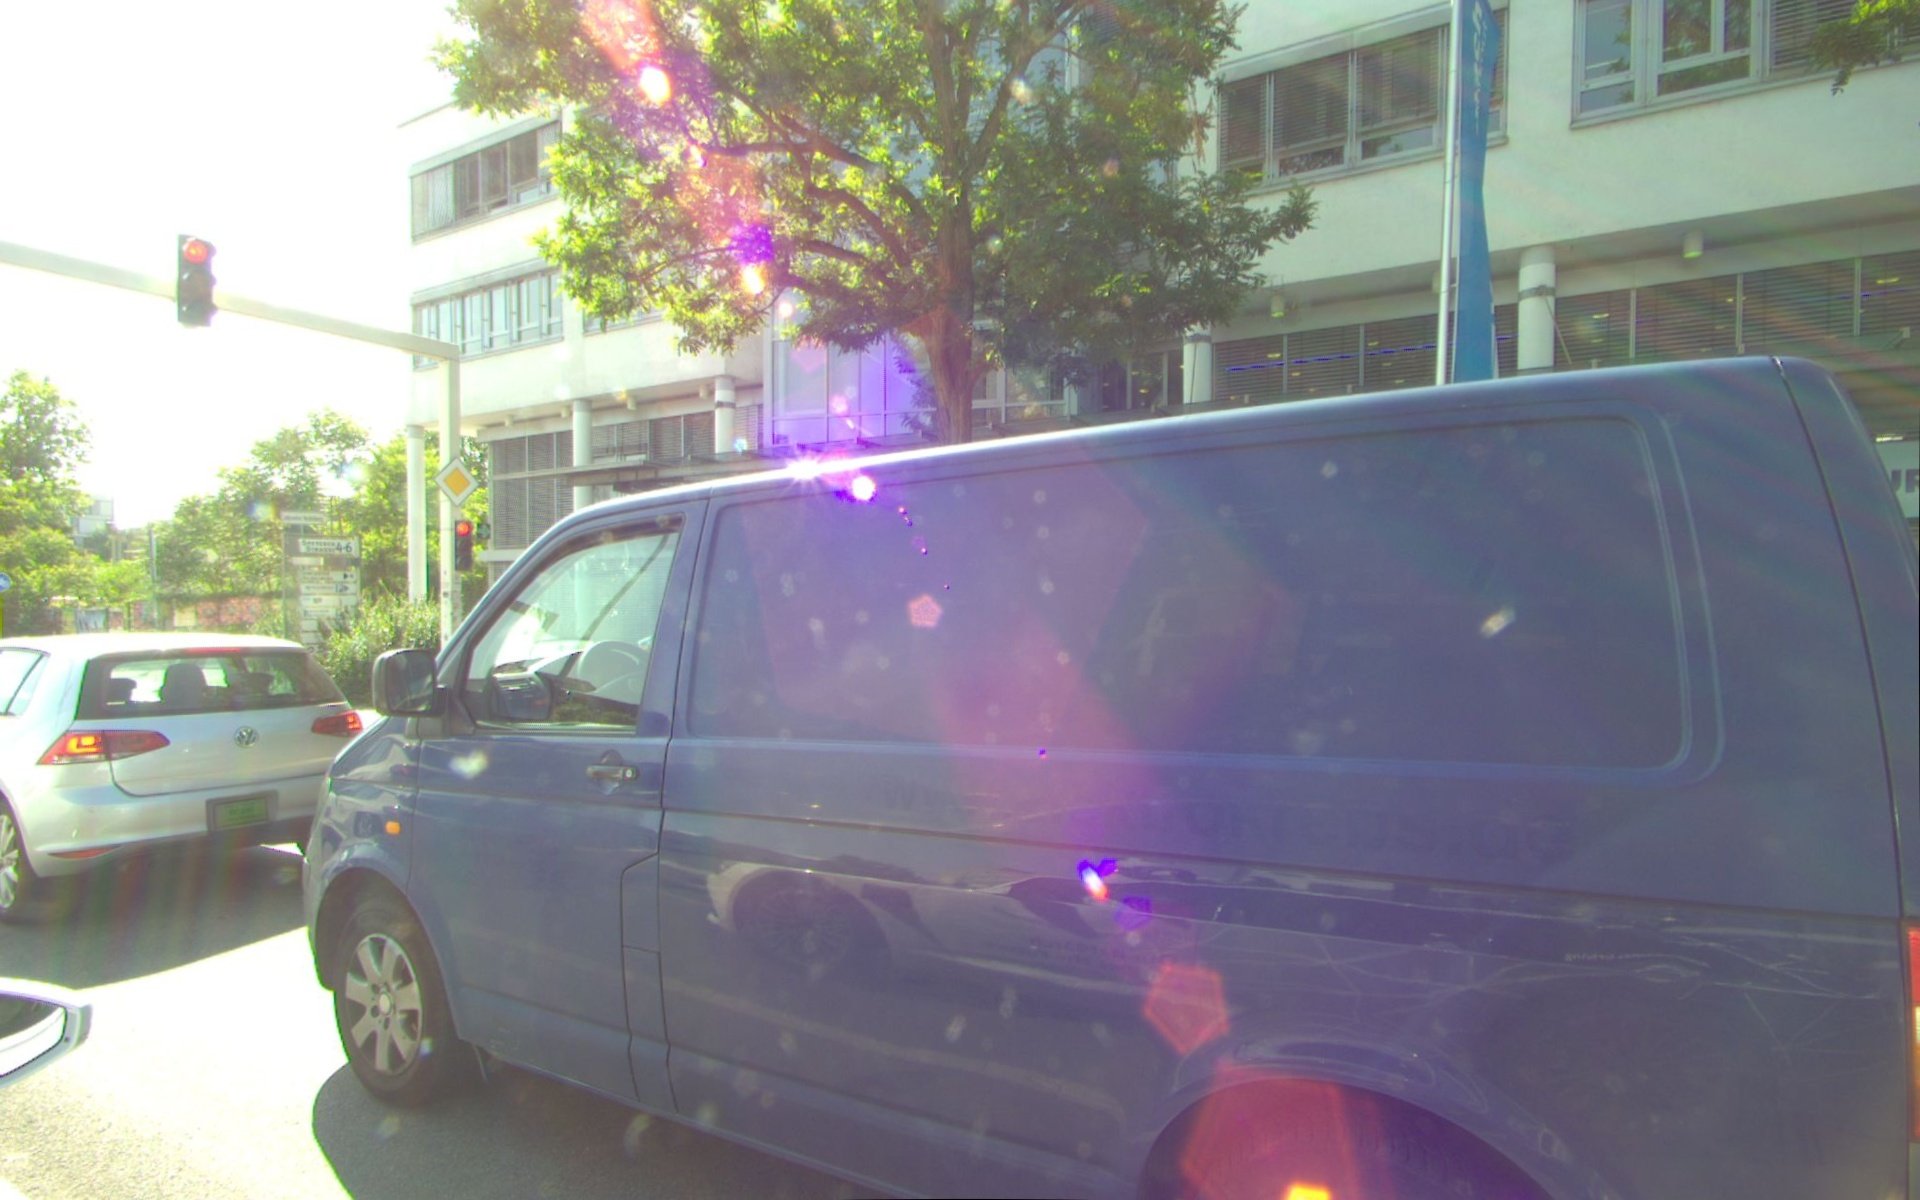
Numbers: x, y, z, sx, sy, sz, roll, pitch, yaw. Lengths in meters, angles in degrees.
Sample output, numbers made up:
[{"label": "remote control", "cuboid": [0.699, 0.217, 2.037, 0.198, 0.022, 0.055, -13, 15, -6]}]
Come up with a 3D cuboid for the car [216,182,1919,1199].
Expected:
[{"label": "car", "cuboid": [-0.113, 0.540, 3.170, 4.821, 1.973, 1.989, -1, -1, 32]}]

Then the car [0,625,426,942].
[{"label": "car", "cuboid": [-5.481, 0.921, 6.485, 3.942, 1.448, 1.804, -1, -1, 31]}]

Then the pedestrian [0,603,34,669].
[{"label": "pedestrian", "cuboid": [-30.222, 1.135, 31.741, 1.023, 2.040, 1.025, 0, 0, 32]}]
